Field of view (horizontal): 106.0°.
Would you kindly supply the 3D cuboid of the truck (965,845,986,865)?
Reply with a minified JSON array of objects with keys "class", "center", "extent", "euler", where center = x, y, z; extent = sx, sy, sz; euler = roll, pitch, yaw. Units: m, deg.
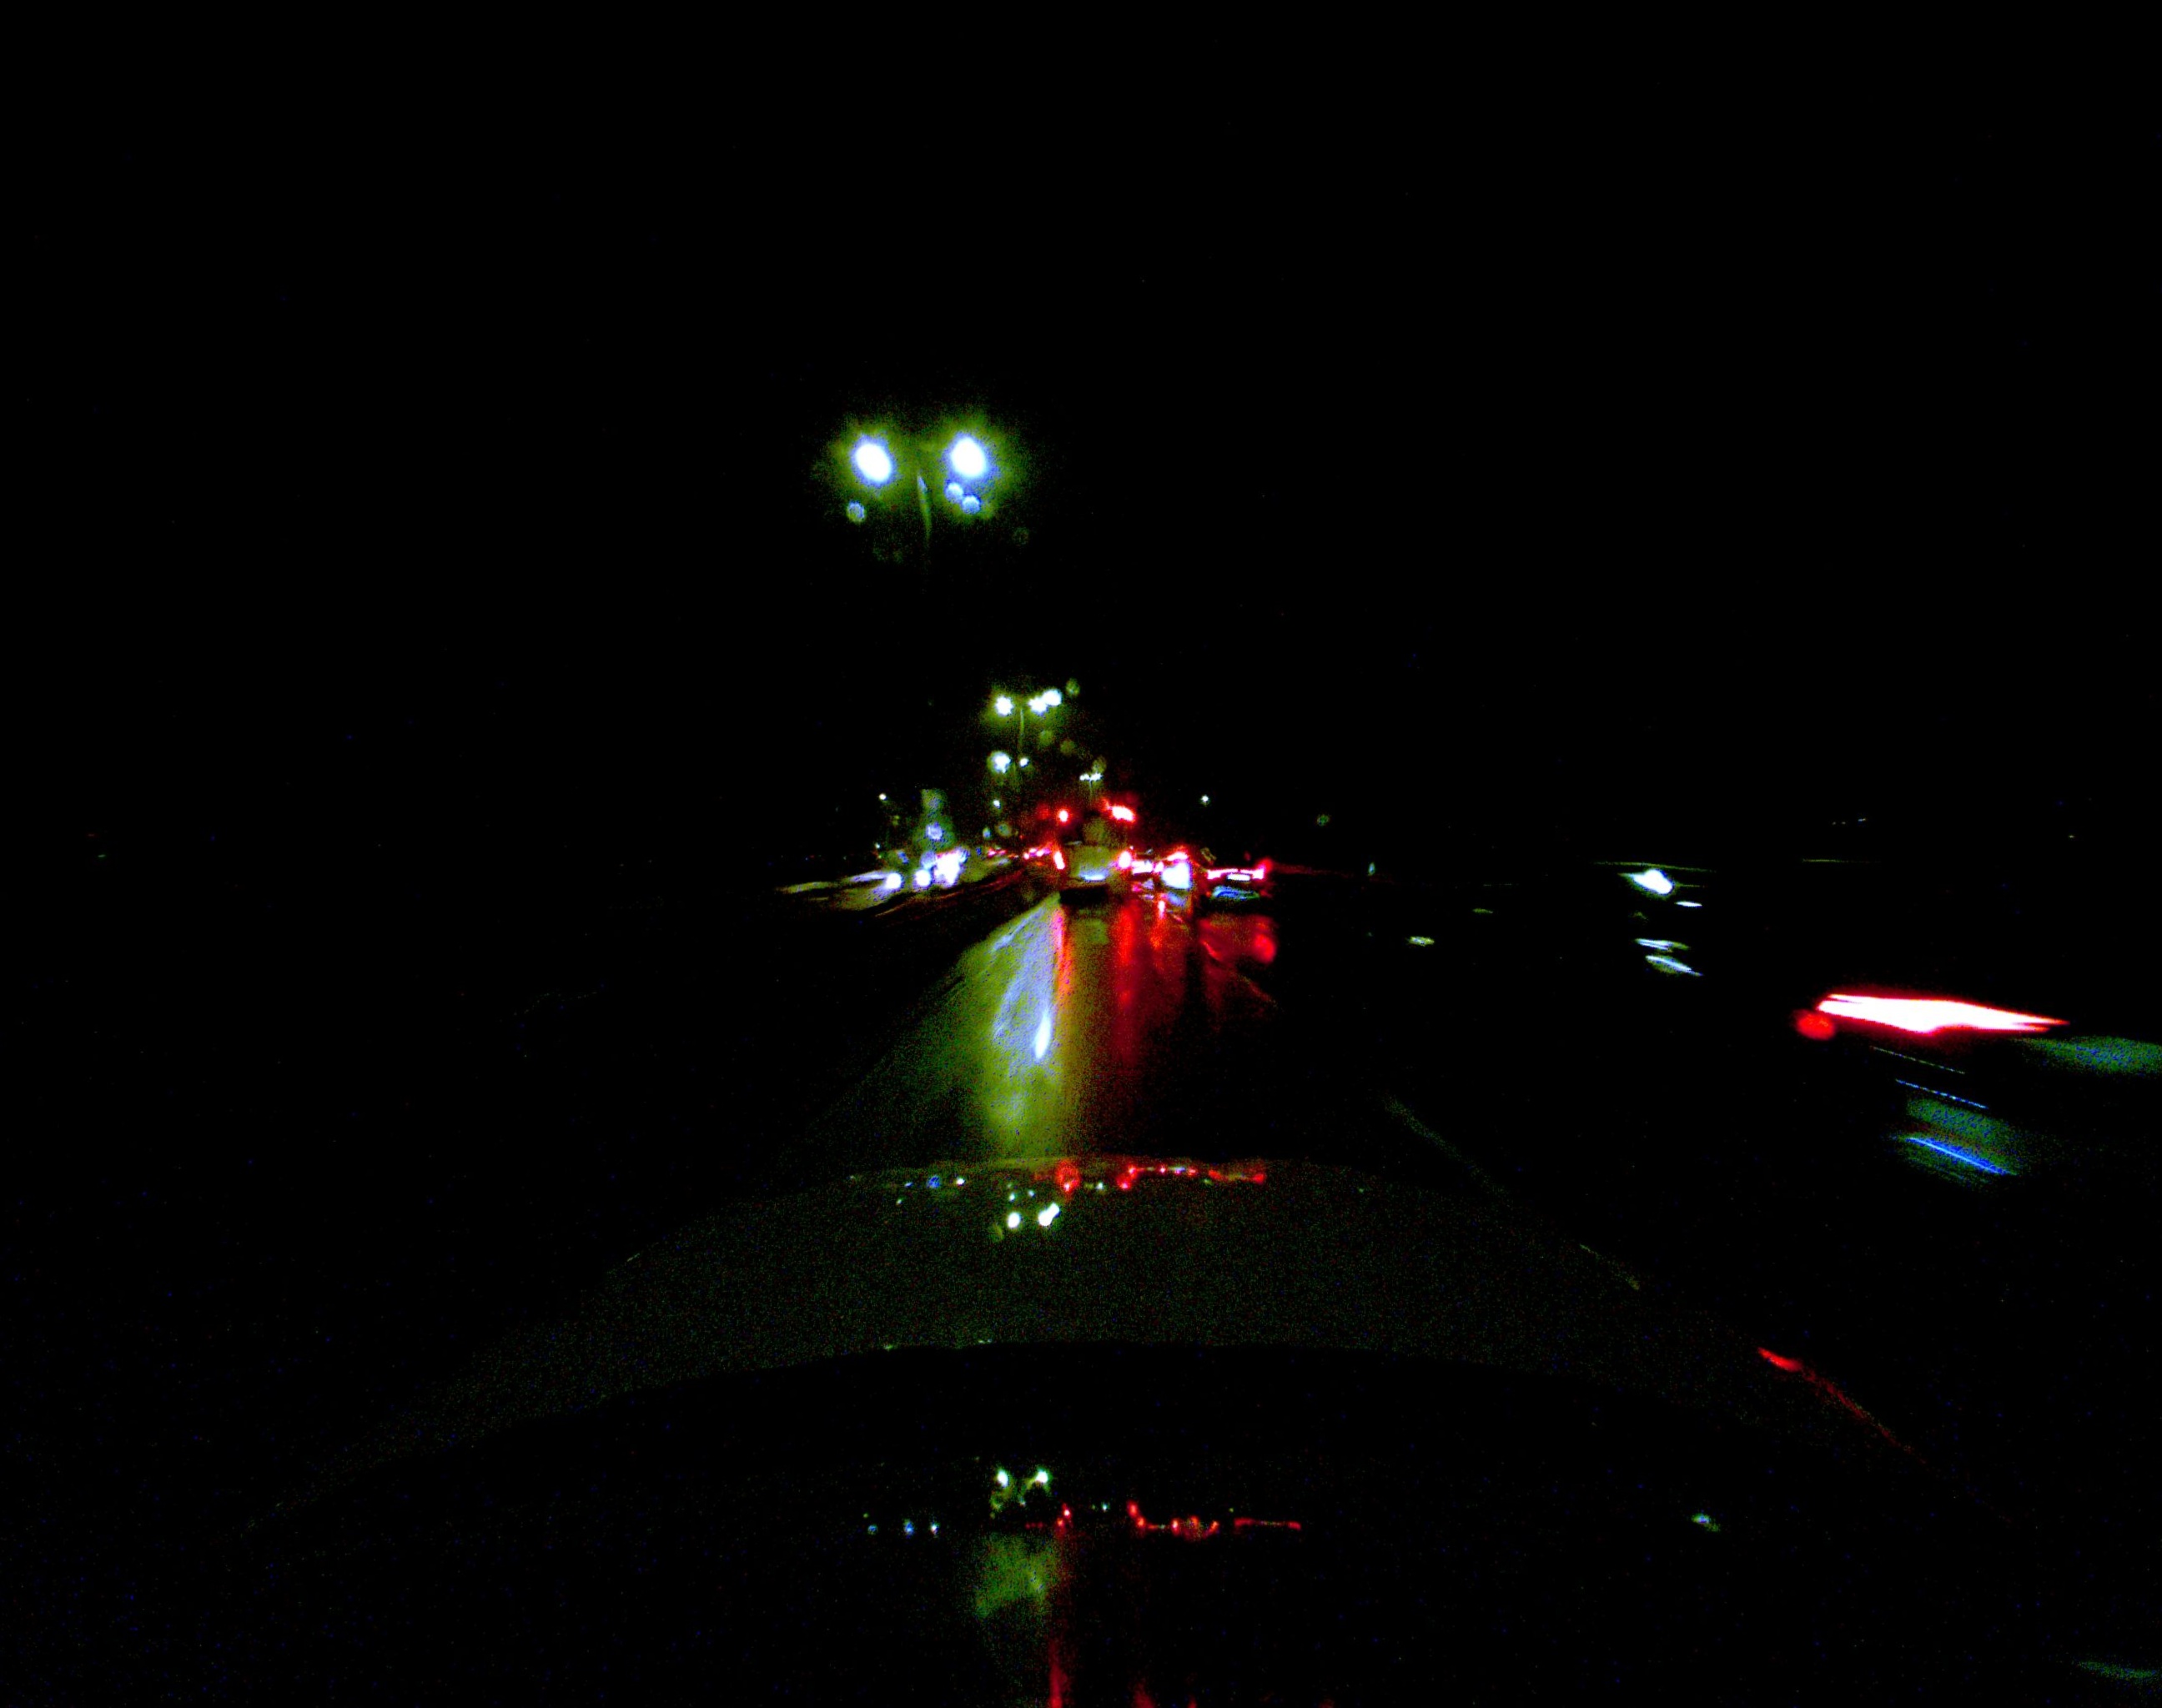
[{"class":"truck","center":[-14.218,0.121,109.853],"extent":[1.861,2.392,4.749],"euler":[-3,3,-19]}]

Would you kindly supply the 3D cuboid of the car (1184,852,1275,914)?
[{"class":"car","center":[4.047,0.752,22.784],"extent":[1.735,1.565,3.773],"euler":[-1,0,-2]}]

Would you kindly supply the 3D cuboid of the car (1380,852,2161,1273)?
[{"class":"car","center":[3.673,0.726,5.229],"extent":[1.726,1.449,4.723],"euler":[-1,0,-1]}]

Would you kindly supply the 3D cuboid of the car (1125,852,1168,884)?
[{"class":"car","center":[3.438,0.719,43.502],"extent":[1.815,1.590,3.773],"euler":[-2,0,-2]}]

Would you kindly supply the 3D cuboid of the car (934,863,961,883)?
[{"class":"car","center":[-12.404,1.776,75.906],"extent":[1.805,1.568,3.996],"euler":[-5,0,-3]}]

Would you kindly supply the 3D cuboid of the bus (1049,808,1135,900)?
[{"class":"bus","center":[0.321,0.010,31.520],"extent":[2.807,3.024,8.684],"euler":[-1,0,-1]}]

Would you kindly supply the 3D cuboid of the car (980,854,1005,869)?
[{"class":"car","center":[-12.199,1.072,112.123],"extent":[2.222,2.013,3.968],"euler":[-2,0,-24]}]

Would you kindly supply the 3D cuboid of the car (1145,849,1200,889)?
[{"class":"car","center":[3.940,0.609,35.799],"extent":[1.815,1.590,3.773],"euler":[-2,0,-2]}]

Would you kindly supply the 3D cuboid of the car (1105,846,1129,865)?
[{"class":"car","center":[2.966,0.118,67.446],"extent":[1.774,1.543,3.873],"euler":[-1,0,-1]}]

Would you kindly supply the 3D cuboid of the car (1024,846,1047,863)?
[{"class":"car","center":[-5.394,0.062,95.284],"extent":[1.996,2.014,3.981],"euler":[0,-1,-14]}]

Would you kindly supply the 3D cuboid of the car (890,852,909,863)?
[{"class":"car","center":[-31.128,0.637,139.506],"extent":[2.007,1.686,3.960],"euler":[1,1,-32]}]

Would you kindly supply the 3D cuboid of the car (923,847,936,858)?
[{"class":"car","center":[-26.453,-0.243,142.022],"extent":[2.123,2.014,3.983],"euler":[0,-1,-12]}]

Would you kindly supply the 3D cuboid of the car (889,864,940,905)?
[{"class":"car","center":[-7.388,1.318,36.462],"extent":[1.617,1.651,3.995],"euler":[-3,0,-3]}]

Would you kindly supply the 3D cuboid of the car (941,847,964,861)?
[{"class":"car","center":[-19.885,0.028,125.672],"extent":[2.008,2.014,3.958],"euler":[0,-1,-33]}]
